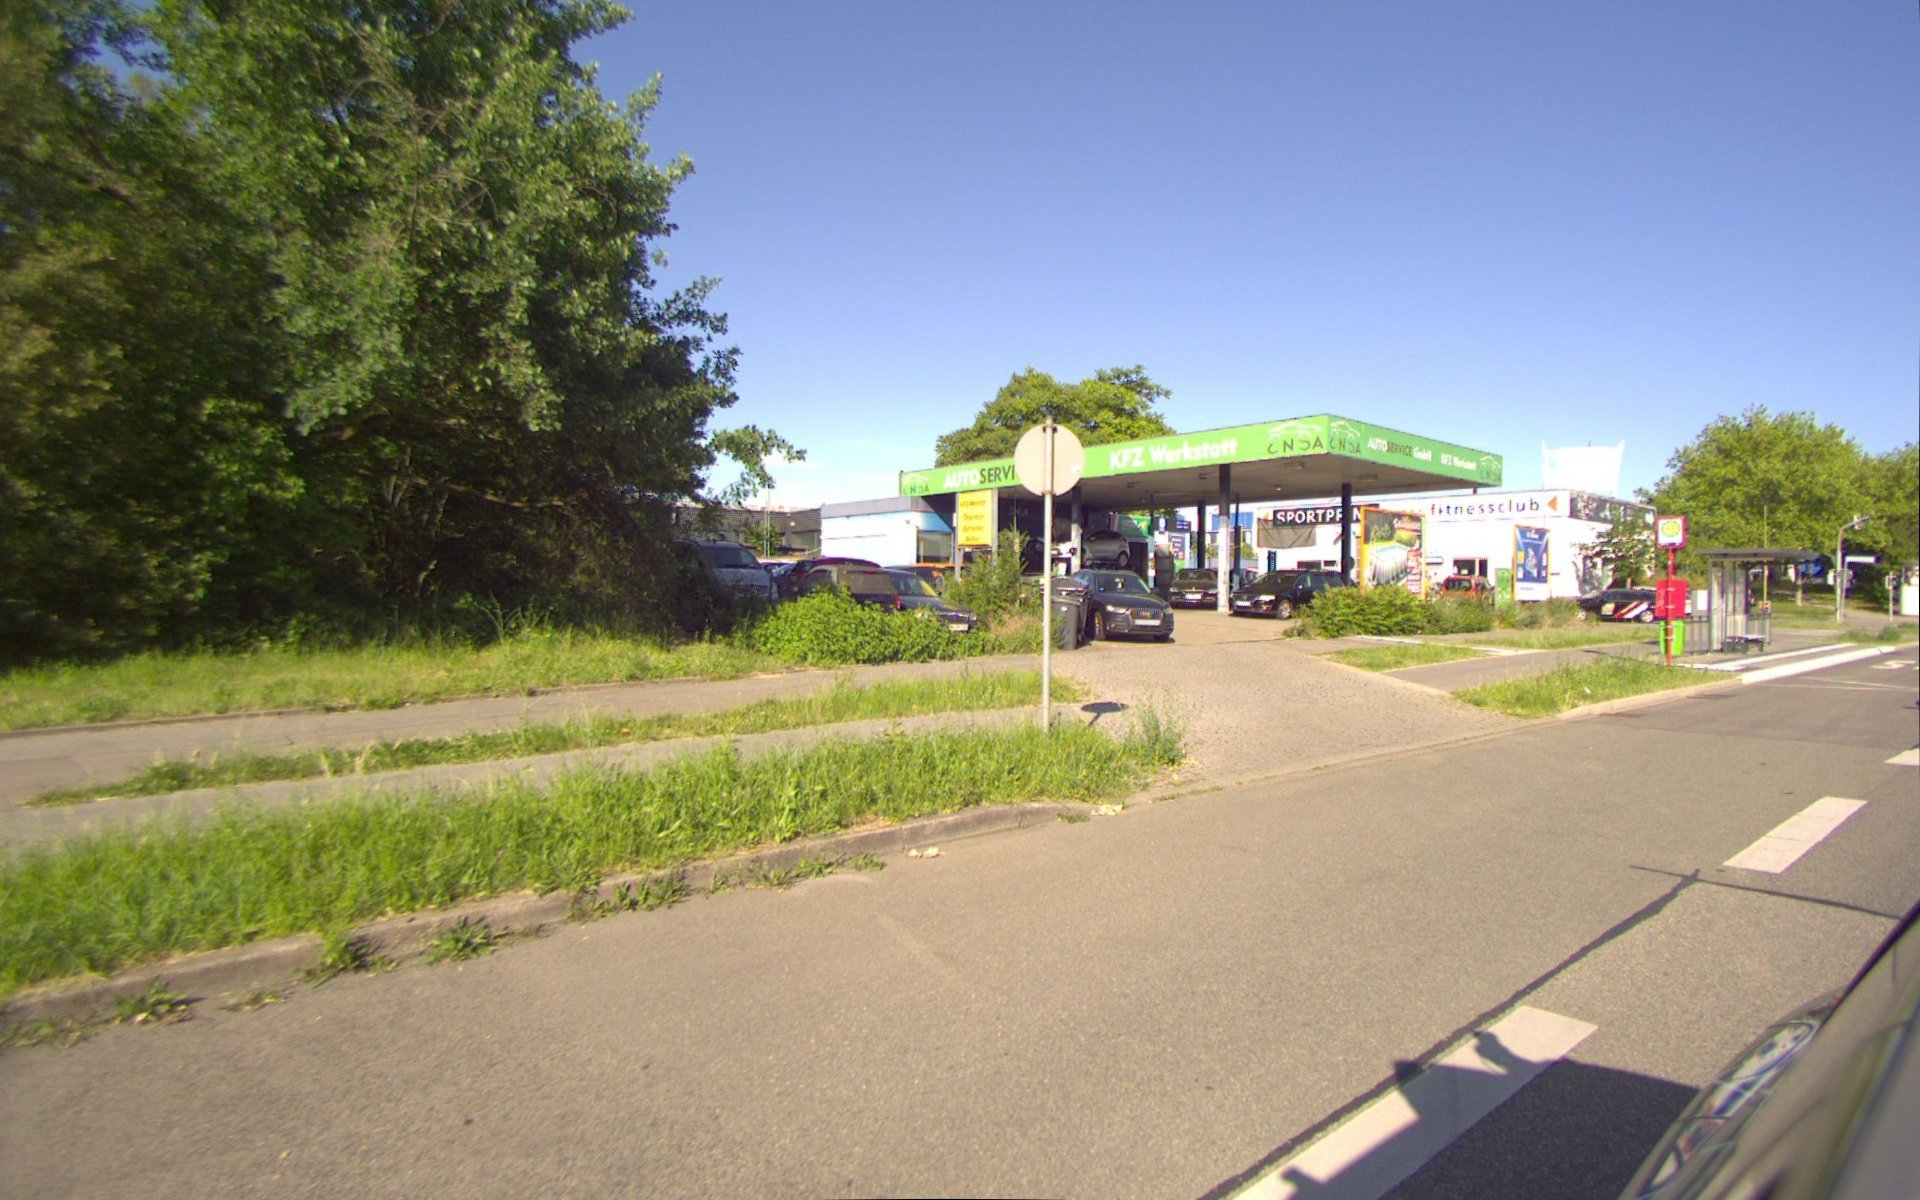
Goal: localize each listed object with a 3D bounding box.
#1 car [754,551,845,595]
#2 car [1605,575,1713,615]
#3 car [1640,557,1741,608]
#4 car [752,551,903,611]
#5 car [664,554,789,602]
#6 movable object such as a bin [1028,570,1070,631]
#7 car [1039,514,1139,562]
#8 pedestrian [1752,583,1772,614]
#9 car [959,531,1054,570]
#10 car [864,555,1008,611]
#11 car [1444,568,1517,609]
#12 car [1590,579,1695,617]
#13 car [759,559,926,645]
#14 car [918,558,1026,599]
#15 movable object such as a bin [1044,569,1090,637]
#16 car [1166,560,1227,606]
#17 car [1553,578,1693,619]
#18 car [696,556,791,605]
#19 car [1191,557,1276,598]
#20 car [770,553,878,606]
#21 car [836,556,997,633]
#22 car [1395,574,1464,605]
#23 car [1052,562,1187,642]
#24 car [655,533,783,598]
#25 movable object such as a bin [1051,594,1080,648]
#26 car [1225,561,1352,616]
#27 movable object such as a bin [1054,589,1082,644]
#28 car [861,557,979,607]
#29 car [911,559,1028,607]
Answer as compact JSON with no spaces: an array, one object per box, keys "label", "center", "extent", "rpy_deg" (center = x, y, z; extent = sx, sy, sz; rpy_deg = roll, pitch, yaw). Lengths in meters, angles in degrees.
[{"label":"car","center":[-7.415,-1.194,46.498],"extent":[1.966,1.805,4.514],"rpy_deg":[0,-1,-43]},{"label":"car","center":[34.430,-0.275,49.966],"extent":[1.690,1.468,3.942],"rpy_deg":[1,7,-28]},{"label":"car","center":[37.069,-0.942,51.505],"extent":[1.652,2.036,4.012],"rpy_deg":[4,6,-8]},{"label":"car","center":[-3.783,-0.522,29.343],"extent":[4.062,1.627,1.716],"rpy_deg":[-1,-1,-40]},{"label":"car","center":[-7.599,-0.699,33.059],"extent":[3.639,1.483,1.611],"rpy_deg":[-1,-1,-40]},{"label":"movable object such as a bin","center":[2.173,0.011,24.639],"extent":[0.972,1.446,1.222],"rpy_deg":[0,0,7]},{"label":"car","center":[5.144,-2.405,40.297],"extent":[3.710,1.776,1.923],"rpy_deg":[-1,2,-39]},{"label":"pedestrian","center":[45.615,-0.099,57.569],"extent":[0.607,1.737,0.759],"rpy_deg":[0,1,-40]},{"label":"car","center":[1.930,-2.009,41.586],"extent":[3.562,1.496,1.923],"rpy_deg":[-1,2,-39]},{"label":"car","center":[-0.632,-0.469,28.711],"extent":[3.846,1.483,1.727],"rpy_deg":[-1,-1,-40]},{"label":"car","center":[26.329,-0.612,51.129],"extent":[4.145,1.883,1.896],"rpy_deg":[-1,5,-43]},{"label":"car","center":[32.126,-0.140,47.727],"extent":[1.808,1.305,3.620],"rpy_deg":[-1,8,-38]},{"label":"car","center":[-2.323,0.046,19.488],"extent":[1.739,1.505,3.291],"rpy_deg":[0,-1,-38]},{"label":"car","center":[0.385,-0.801,37.054],"extent":[1.684,1.435,3.991],"rpy_deg":[-1,2,-43]},{"label":"movable object such as a bin","center":[2.353,0.065,22.244],"extent":[0.972,1.446,1.258],"rpy_deg":[0,0,7]},{"label":"car","center":[8.375,-0.576,35.906],"extent":[1.970,1.505,3.983],"rpy_deg":[-1,0,13]},{"label":"car","center":[29.130,-0.088,44.575],"extent":[4.748,1.549,1.900],"rpy_deg":[2,2,4]},{"label":"car","center":[-8.704,-0.746,40.441],"extent":[1.966,1.805,3.991],"rpy_deg":[0,-1,-43]},{"label":"car","center":[13.795,-1.114,51.135],"extent":[1.890,1.931,3.698],"rpy_deg":[0,-1,-40]},{"label":"car","center":[-5.001,-0.696,36.845],"extent":[1.966,1.805,3.991],"rpy_deg":[0,-1,-43]},{"label":"car","center":[-0.950,-0.087,20.764],"extent":[1.697,1.435,3.291],"rpy_deg":[0,-1,-38]},{"label":"car","center":[24.606,-0.587,52.980],"extent":[4.147,1.266,1.770],"rpy_deg":[-4,9,-42]},{"label":"car","center":[3.733,-0.039,24.605],"extent":[1.764,1.660,4.571],"rpy_deg":[1,3,-10]},{"label":"car","center":[-6.356,-0.933,26.434],"extent":[1.702,1.550,4.049],"rpy_deg":[0,3,-38]},{"label":"movable object such as a bin","center":[2.176,0.425,20.751],"extent":[0.572,1.088,0.509],"rpy_deg":[0,-1,9]},{"label":"car","center":[10.167,-0.342,31.217],"extent":[4.172,1.592,1.748],"rpy_deg":[0,0,-39]},{"label":"movable object such as a bin","center":[2.286,0.344,21.326],"extent":[0.572,1.135,0.509],"rpy_deg":[0,0,9]},{"label":"car","center":[-1.378,-0.610,33.205],"extent":[1.669,1.535,3.991],"rpy_deg":[-1,2,-43]},{"label":"car","center":[0.276,-0.603,34.390],"extent":[1.707,1.535,3.991],"rpy_deg":[-1,2,-43]}]
